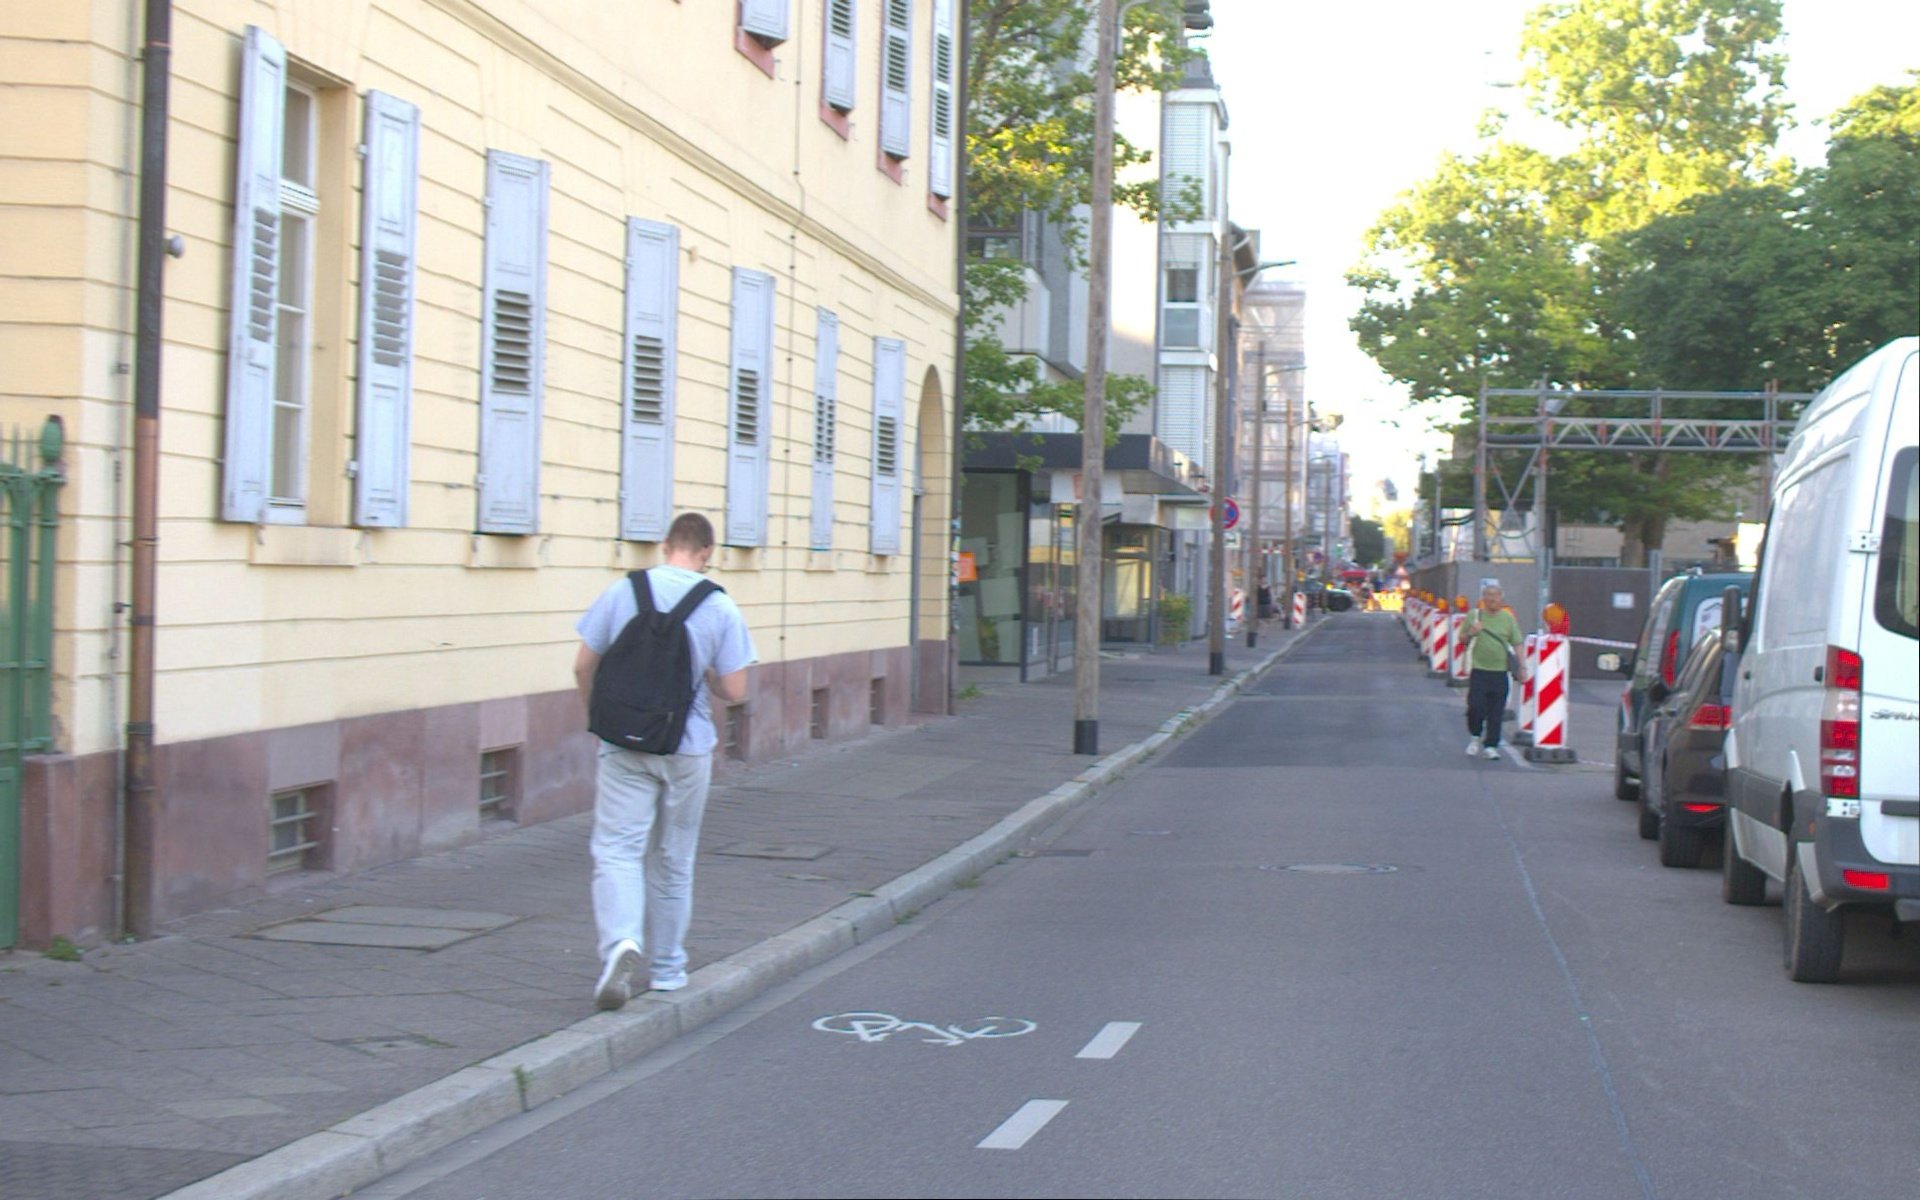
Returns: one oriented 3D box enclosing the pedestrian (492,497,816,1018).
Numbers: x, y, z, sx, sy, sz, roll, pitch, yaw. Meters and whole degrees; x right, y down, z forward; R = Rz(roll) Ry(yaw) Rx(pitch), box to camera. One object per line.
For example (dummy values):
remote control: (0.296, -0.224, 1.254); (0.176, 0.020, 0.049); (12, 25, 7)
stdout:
pedestrian: (-1.050, 0.523, 11.965); (0.876, 1.718, 0.829); (2, 0, 11)

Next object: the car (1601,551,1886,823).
car: (5.825, 0.593, 25.950); (1.713, 1.842, 4.021); (2, 0, 8)

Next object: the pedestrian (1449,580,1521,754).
pedestrian: (5.028, 0.629, 32.914); (0.613, 1.623, 0.818); (2, 0, 10)

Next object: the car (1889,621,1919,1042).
car: (3.958, 0.825, 10.070); (1.729, 1.425, 4.472); (2, 1, 7)

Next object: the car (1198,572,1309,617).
car: (10.100, -0.204, 118.122); (3.744, 1.454, 1.697); (1, 0, 6)

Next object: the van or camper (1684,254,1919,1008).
van or camper: (4.593, 0.131, 15.715); (2.078, 2.765, 6.447); (1, 0, 9)

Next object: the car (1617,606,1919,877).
car: (5.076, 0.801, 21.410); (1.693, 1.454, 4.097); (2, 1, 8)
